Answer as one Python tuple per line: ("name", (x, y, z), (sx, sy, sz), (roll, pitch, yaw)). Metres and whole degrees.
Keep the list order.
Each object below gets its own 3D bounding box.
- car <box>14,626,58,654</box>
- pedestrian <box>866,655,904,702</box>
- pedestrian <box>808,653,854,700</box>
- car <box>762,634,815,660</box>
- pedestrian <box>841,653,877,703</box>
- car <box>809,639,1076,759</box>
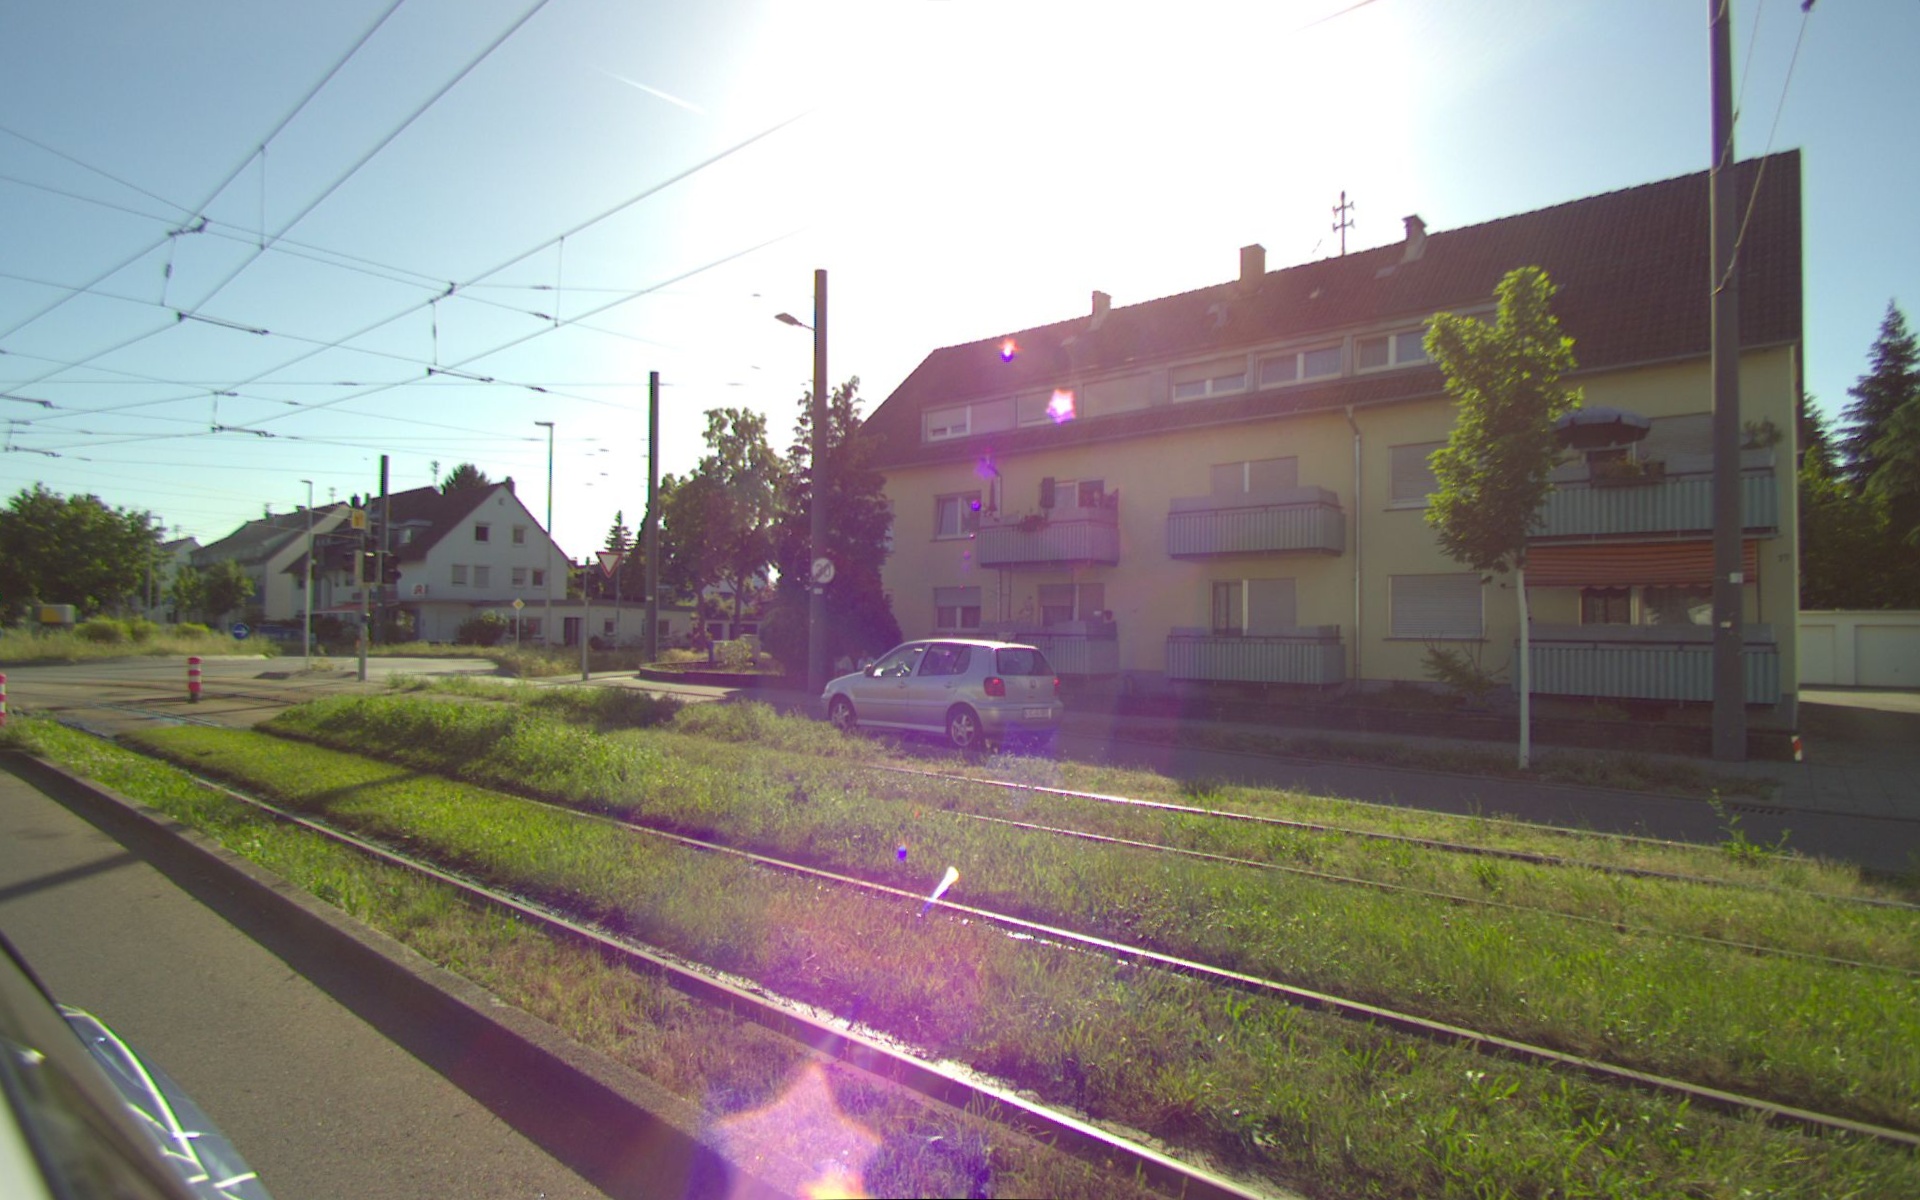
("car", (-71.594, 3.095, 78.383), (4.367, 2.030, 1.871), (1, -1, 40))
("pedestrian", (-1.689, 1.761, 22.855), (0.590, 1.013, 0.720), (1, -1, 17))
("pedestrian", (-3.013, 1.787, 23.717), (0.687, 1.054, 0.809), (0, -2, 39))
("car", (-12.402, 3.372, 73.061), (1.969, 1.707, 4.057), (3, -2, -41))
("pedestrian", (-2.298, 1.781, 23.187), (0.619, 1.073, 0.818), (2, -1, 8))
("car", (-0.333, 1.265, 14.030), (3.658, 1.423, 1.533), (-2, -3, 43))
